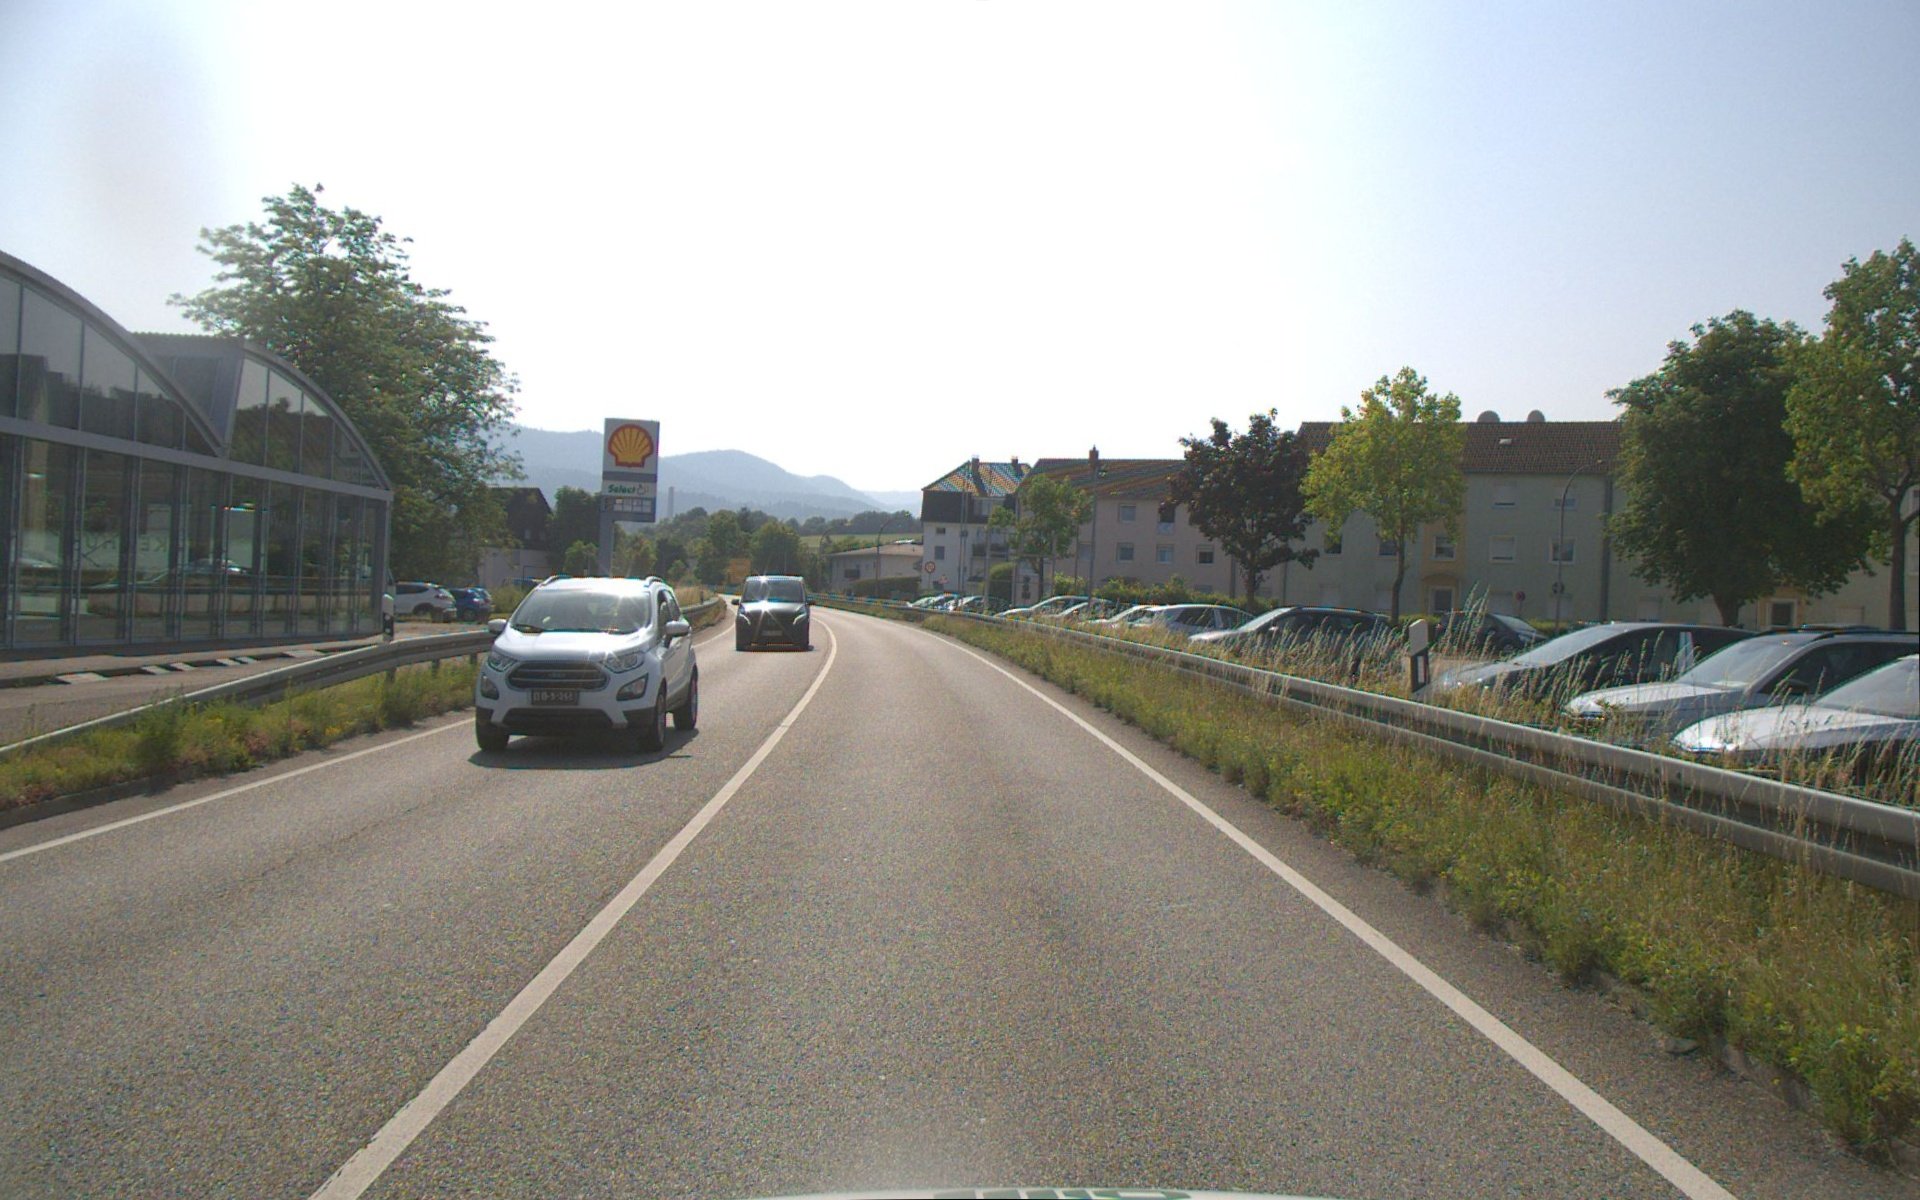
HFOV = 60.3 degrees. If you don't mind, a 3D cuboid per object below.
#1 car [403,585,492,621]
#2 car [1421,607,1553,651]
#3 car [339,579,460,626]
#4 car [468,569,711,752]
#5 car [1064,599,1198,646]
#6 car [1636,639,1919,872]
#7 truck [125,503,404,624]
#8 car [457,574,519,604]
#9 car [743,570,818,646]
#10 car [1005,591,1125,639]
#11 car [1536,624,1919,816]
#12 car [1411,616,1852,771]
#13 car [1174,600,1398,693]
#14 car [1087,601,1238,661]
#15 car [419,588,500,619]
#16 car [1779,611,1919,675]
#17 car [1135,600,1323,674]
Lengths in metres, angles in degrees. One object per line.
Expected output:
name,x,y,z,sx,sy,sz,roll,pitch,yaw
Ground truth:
car,-24.182,0.130,78.180,3.677,1.526,1.929,2,0,-8
car,18.710,1.016,58.918,1.886,1.430,4.485,1,0,-27
car,-22.581,0.093,66.779,4.271,1.684,1.928,2,0,-10
car,-3.666,0.542,17.082,1.756,1.658,4.224,0,0,-3
car,5.746,0.742,55.862,4.236,1.469,1.626,1,0,-6
car,7.299,1.061,12.014,4.075,1.517,1.731,0,0,-2
truck,-22.752,-1.116,54.604,2.751,3.619,8.180,2,0,36
car,-34.310,-0.795,120.188,4.817,2.049,1.989,2,0,41
car,-4.826,0.194,43.992,1.878,1.918,4.902,0,0,-7
car,3.869,0.543,61.658,4.233,1.668,2.139,1,0,-3
car,7.529,1.024,14.880,4.075,1.583,1.770,0,0,-2
car,7.156,0.963,17.882,4.075,1.572,1.740,0,0,-2
car,6.260,0.881,32.021,3.907,1.668,1.886,1,0,-3
car,5.591,0.848,45.896,3.908,1.548,1.696,1,-1,-4
car,-25.451,0.176,84.186,3.677,1.485,1.858,1,0,-8
car,23.001,1.117,42.605,3.713,1.548,1.641,1,0,-30
car,6.159,0.838,38.052,3.912,1.607,1.775,1,0,-8
